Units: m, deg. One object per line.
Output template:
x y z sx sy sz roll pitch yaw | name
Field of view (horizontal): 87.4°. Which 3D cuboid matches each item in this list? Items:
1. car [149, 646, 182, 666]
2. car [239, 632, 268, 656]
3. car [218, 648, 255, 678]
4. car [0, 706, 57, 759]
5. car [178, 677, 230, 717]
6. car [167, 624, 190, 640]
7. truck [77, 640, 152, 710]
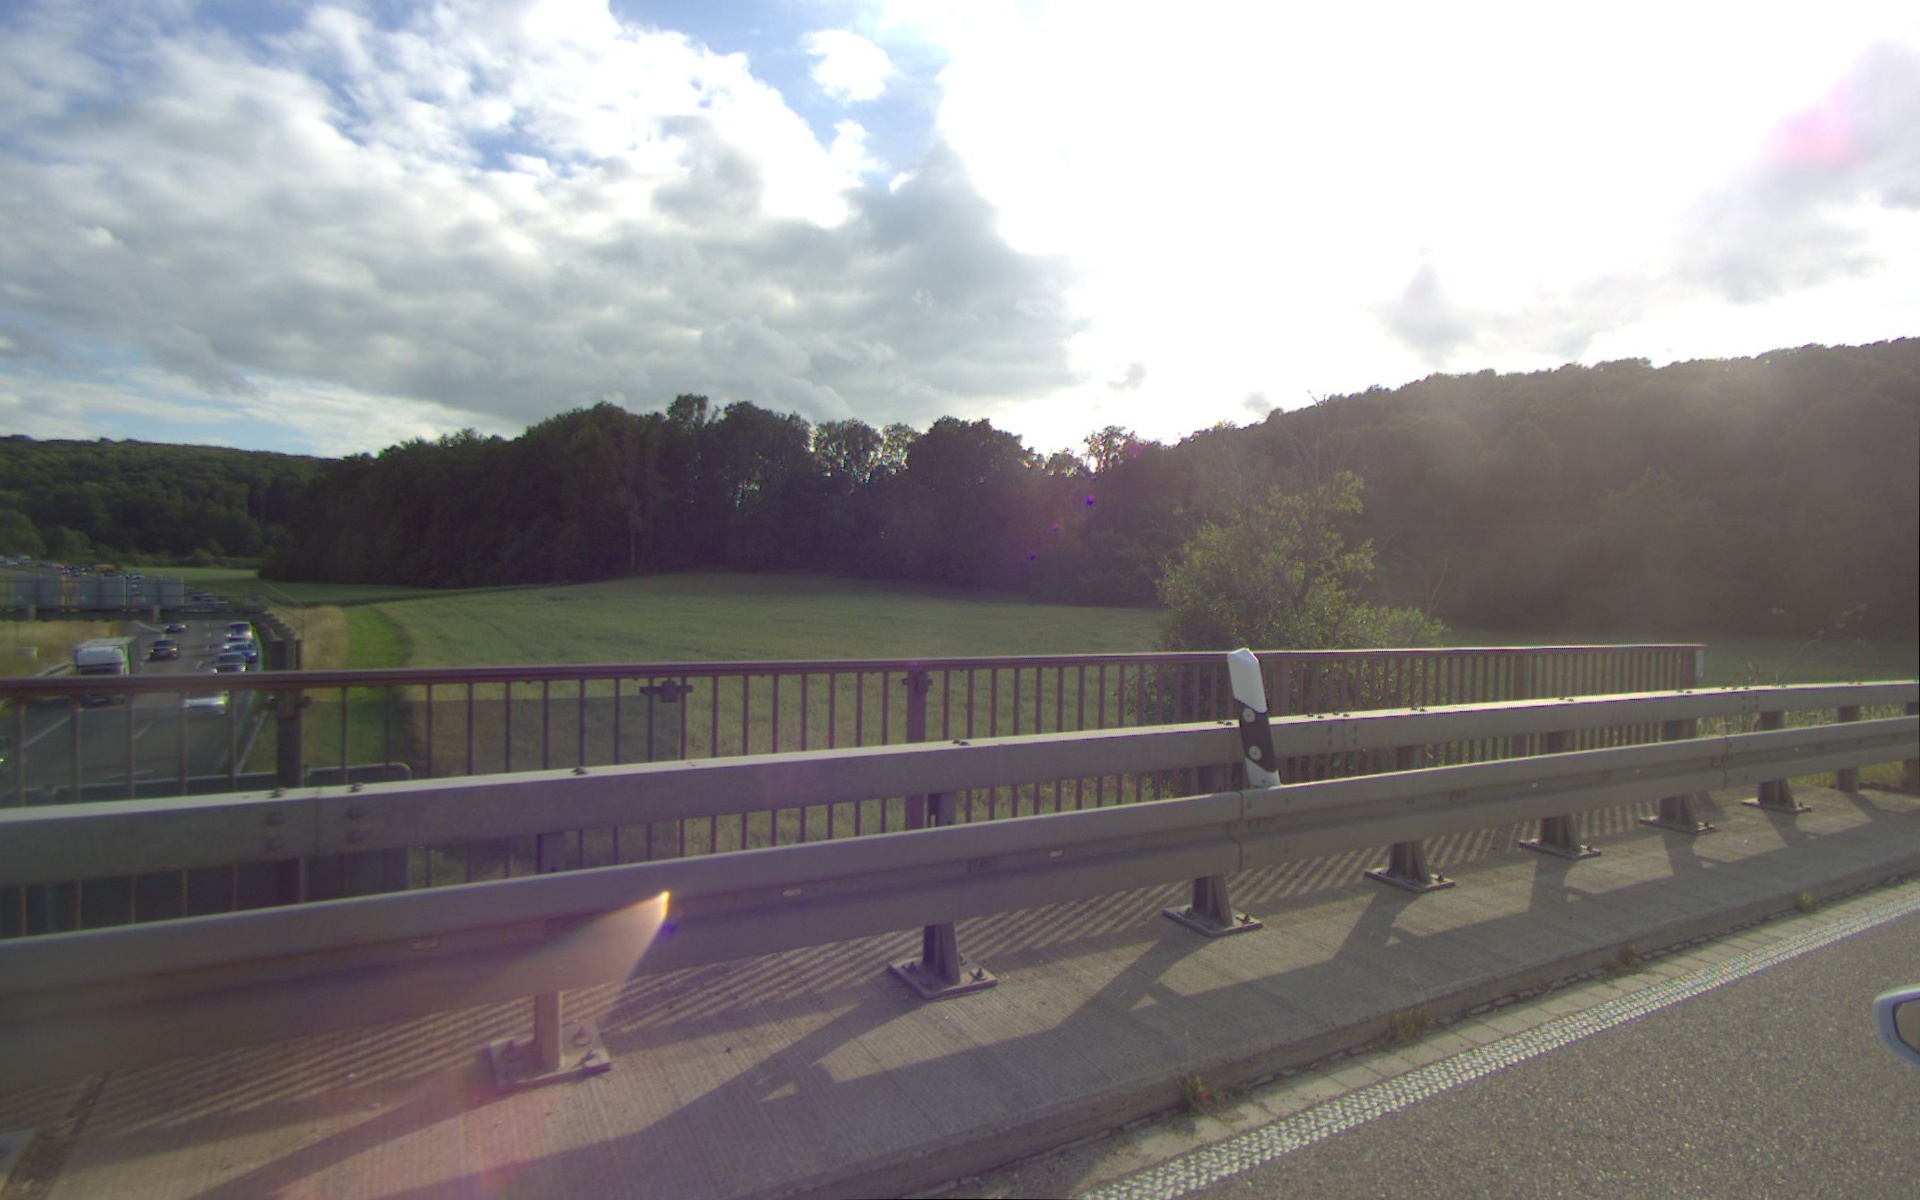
-64.553 4.545 81.680 1.698 1.350 3.963 1 1 -33 | car
-64.393 4.013 91.521 1.982 1.750 3.959 6 -2 -36 | car
-49.093 4.263 68.199 1.809 1.672 3.962 1 1 -33 | car
-37.664 5.246 39.956 1.969 1.736 3.963 2 -3 -34 | car
-38.057 4.859 50.647 1.809 1.672 3.963 1 -2 -33 | car
-85.980 3.530 110.560 1.810 1.462 3.960 1 1 -35 | car
-49.297 4.220 58.755 2.100 3.451 8.421 1 0 -32 | truck
